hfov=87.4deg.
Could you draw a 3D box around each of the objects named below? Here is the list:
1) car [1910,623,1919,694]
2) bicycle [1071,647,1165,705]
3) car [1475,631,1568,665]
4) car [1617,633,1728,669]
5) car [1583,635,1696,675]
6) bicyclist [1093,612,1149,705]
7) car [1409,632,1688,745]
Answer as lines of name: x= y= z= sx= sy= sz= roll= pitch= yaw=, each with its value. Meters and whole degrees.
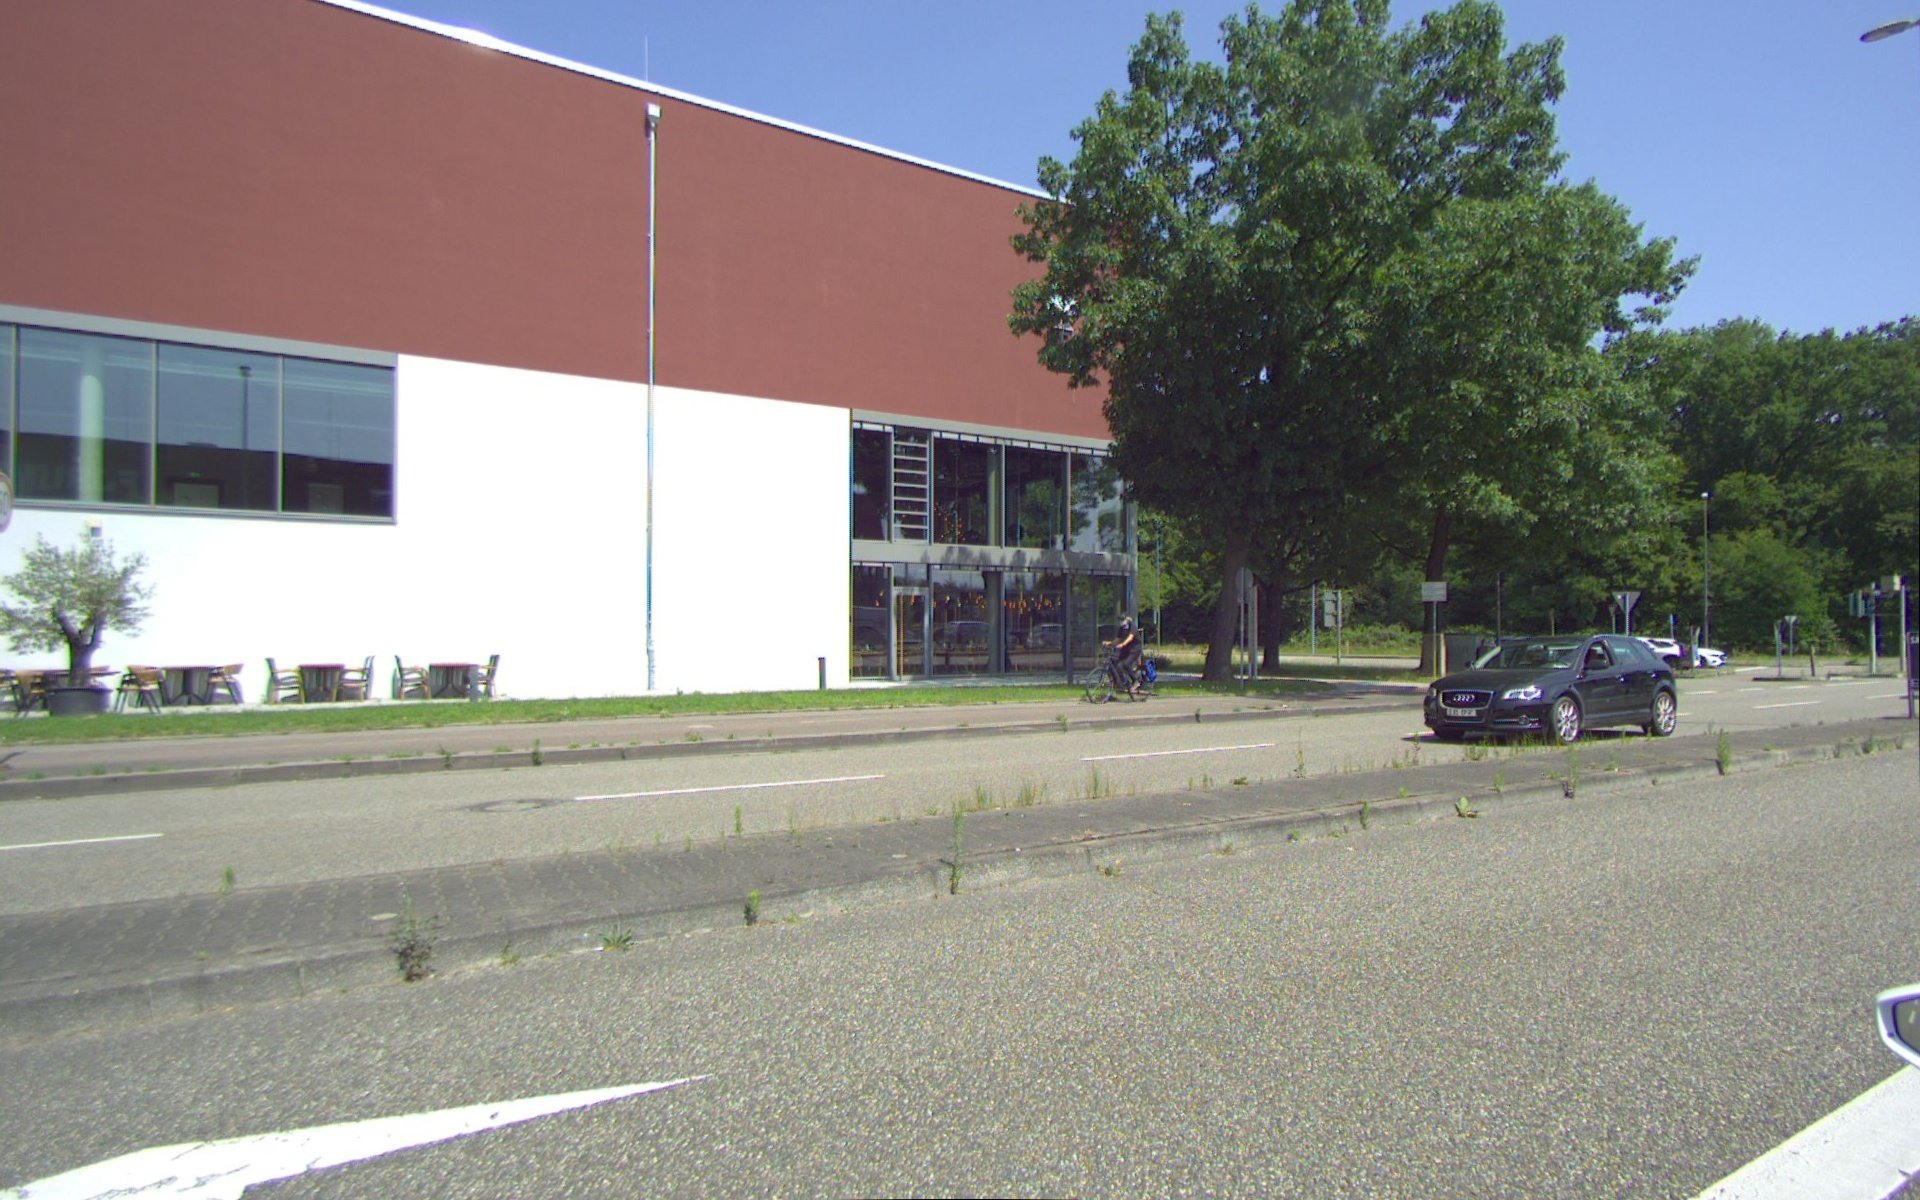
car: x=23.821 y=1.324 z=23.259 sx=3.842 sy=1.621 sz=1.678 roll=1 pitch=-4 yaw=-32
bicycle: x=3.145 y=1.484 z=19.954 sx=1.862 sy=1.065 sz=0.652 roll=1 pitch=-1 yaw=-31
car: x=32.715 y=2.767 z=58.617 sx=1.796 sy=1.704 sz=4.333 roll=2 pitch=0 yaw=-41
car: x=37.076 y=2.676 z=52.371 sx=1.794 sy=1.703 sz=4.340 roll=2 pitch=-5 yaw=-37
car: x=33.926 y=2.708 z=50.269 sx=1.794 sy=1.704 sz=4.338 roll=2 pitch=0 yaw=-37
bicyclist: x=3.202 y=1.145 z=19.993 sx=0.917 sy=1.793 sz=0.646 roll=1 pitch=-1 yaw=-30
car: x=8.202 y=1.162 z=13.929 sx=3.956 sy=1.356 sz=1.670 roll=1 pitch=-4 yaw=-32
